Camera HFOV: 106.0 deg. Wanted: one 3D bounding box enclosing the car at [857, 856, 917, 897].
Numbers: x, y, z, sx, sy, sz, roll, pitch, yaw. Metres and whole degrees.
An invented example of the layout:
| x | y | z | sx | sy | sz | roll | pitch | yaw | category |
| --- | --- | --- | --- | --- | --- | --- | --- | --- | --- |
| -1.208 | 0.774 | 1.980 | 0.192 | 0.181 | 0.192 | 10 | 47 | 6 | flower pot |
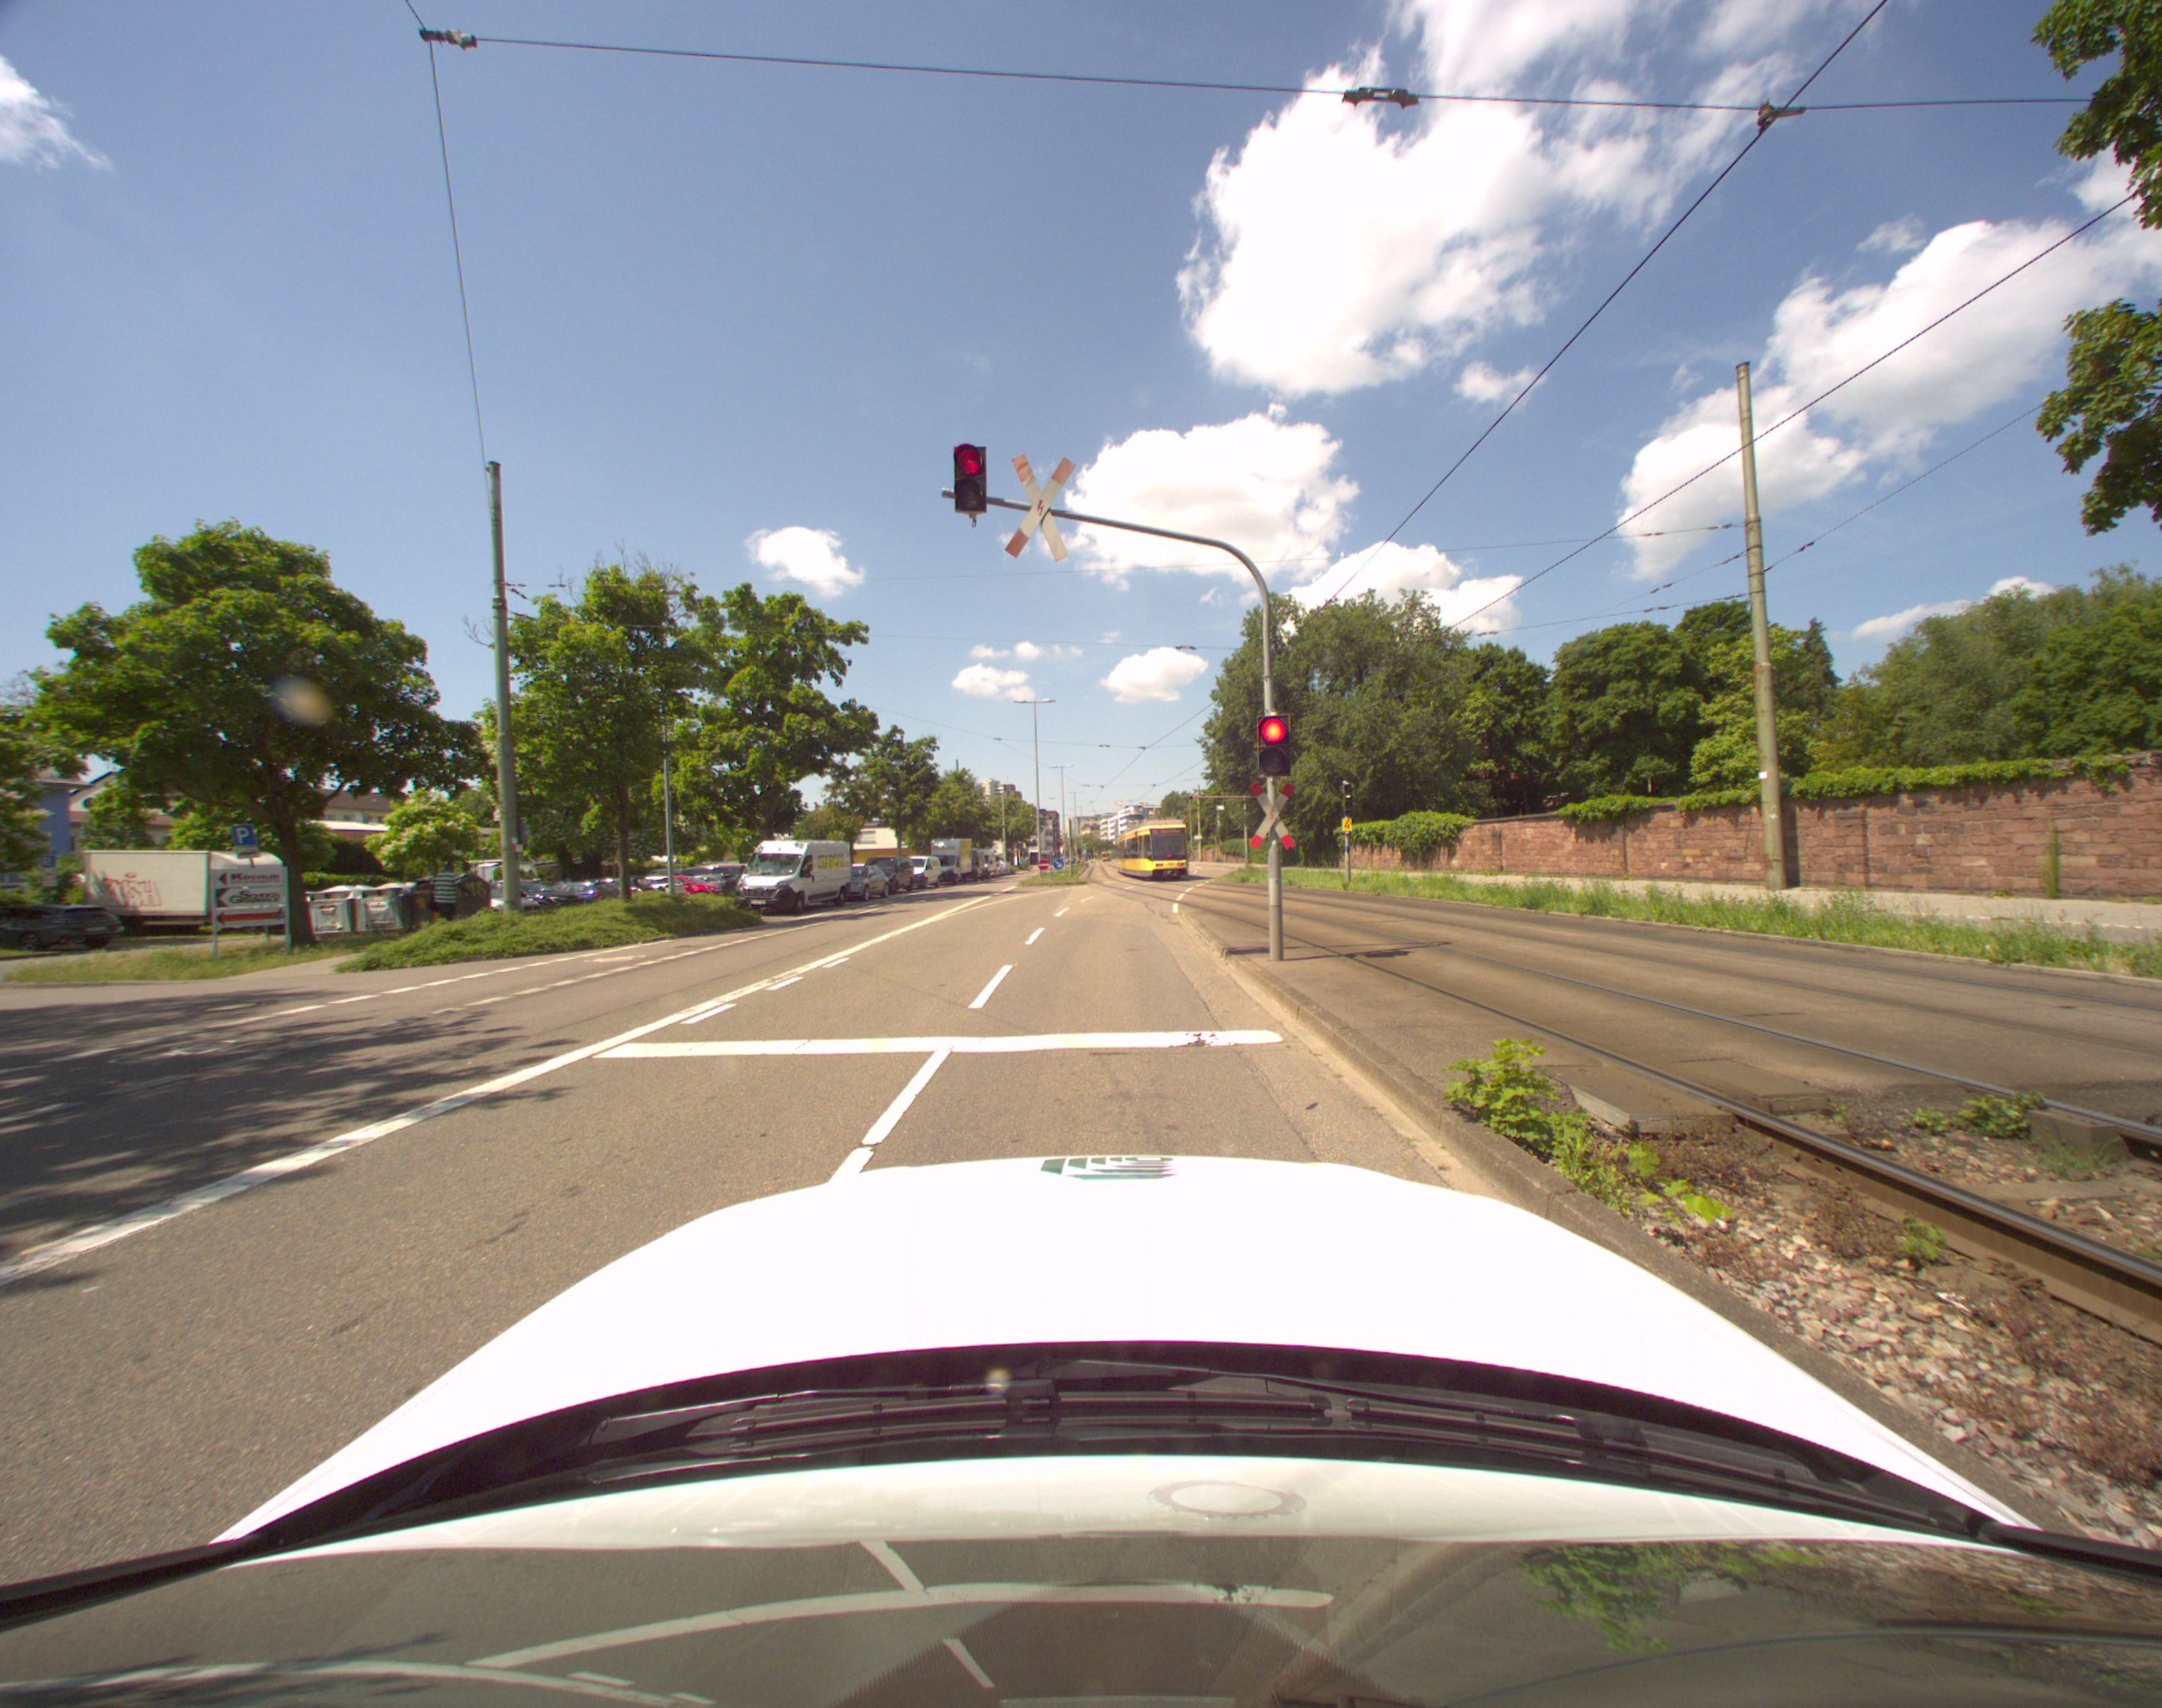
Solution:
| x | y | z | sx | sy | sz | roll | pitch | yaw | category |
| --- | --- | --- | --- | --- | --- | --- | --- | --- | --- |
| -9.848 | 1.116 | 41.674 | 1.862 | 1.895 | 4.272 | -2 | 0 | 2 | car |

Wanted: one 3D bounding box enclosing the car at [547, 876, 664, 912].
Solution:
| x | y | z | sx | sy | sz | roll | pitch | yaw | category |
| --- | --- | --- | --- | --- | --- | --- | --- | --- | --- |
| -20.778 | 1.724 | 35.678 | 3.974 | 1.339 | 1.805 | -2 | 0 | 0 | car |

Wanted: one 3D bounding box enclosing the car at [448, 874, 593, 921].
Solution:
| x | y | z | sx | sy | sz | roll | pitch | yaw | category |
| --- | --- | --- | --- | --- | --- | --- | --- | --- | --- |
| -20.424 | 1.558 | 29.787 | 3.974 | 1.442 | 1.805 | -2 | 0 | 0 | car |

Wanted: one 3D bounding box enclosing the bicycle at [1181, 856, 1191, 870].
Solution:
| x | y | z | sx | sy | sz | roll | pitch | yaw | category |
| --- | --- | --- | --- | --- | --- | --- | --- | --- | --- |
| 14.903 | 1.291 | 115.892 | 1.088 | 1.908 | 3.683 | -2 | 0 | 2 | bicycle |

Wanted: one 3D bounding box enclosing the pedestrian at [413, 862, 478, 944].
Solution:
| x | y | z | sx | sy | sz | roll | pitch | yaw | category |
| --- | --- | --- | --- | --- | --- | --- | --- | --- | --- |
| -14.847 | 1.114 | 19.063 | 0.979 | 1.823 | 0.788 | -2 | 0 | -24 | pedestrian |

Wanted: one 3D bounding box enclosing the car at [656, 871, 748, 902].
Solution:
| x | y | z | sx | sy | sz | roll | pitch | yaw | category |
| --- | --- | --- | --- | --- | --- | --- | --- | --- | --- |
| -20.176 | 1.723 | 43.459 | 3.974 | 1.442 | 1.805 | -3 | 0 | 0 | car |

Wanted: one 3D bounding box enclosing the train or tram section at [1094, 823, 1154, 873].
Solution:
| x | y | z | sx | sy | sz | roll | pitch | yaw | category |
| --- | --- | --- | --- | --- | --- | --- | --- | --- | --- |
| 3.402 | -0.467 | 70.728 | 2.937 | 3.692 | 20.258 | -1 | 0 | -3 | train or tram section |

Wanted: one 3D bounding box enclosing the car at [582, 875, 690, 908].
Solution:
| x | y | z | sx | sy | sz | roll | pitch | yaw | category |
| --- | --- | --- | --- | --- | --- | --- | --- | --- | --- |
| -20.878 | 1.742 | 38.317 | 3.974 | 1.339 | 1.805 | -2 | 0 | 0 | car |

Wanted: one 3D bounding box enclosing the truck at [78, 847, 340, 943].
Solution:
| x | y | z | sx | sy | sz | roll | pitch | yaw | category |
| --- | --- | --- | --- | --- | --- | --- | --- | --- | --- |
| -33.000 | 1.500 | 31.012 | 7.166 | 3.228 | 2.331 | -2 | 0 | -2 | truck |

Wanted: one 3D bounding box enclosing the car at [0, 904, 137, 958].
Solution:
| x | y | z | sx | sy | sz | roll | pitch | yaw | category |
| --- | --- | --- | --- | --- | --- | --- | --- | --- | --- |
| -32.334 | 2.397 | 25.223 | 3.975 | 1.399 | 1.772 | -3 | 0 | -1 | car |

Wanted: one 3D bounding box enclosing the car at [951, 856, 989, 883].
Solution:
| x | y | z | sx | sy | sz | roll | pitch | yaw | category |
| --- | --- | --- | --- | --- | --- | --- | --- | --- | --- |
| -8.742 | 1.202 | 64.505 | 2.053 | 1.977 | 4.873 | -2 | 0 | 2 | car |

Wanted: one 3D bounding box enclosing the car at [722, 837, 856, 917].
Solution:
| x | y | z | sx | sy | sz | roll | pitch | yaw | category |
| --- | --- | --- | --- | --- | --- | --- | --- | --- | --- |
| -10.137 | 0.724 | 28.956 | 2.147 | 2.487 | 6.198 | 1 | 0 | 3 | car |

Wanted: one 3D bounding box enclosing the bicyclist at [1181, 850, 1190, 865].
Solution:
| x | y | z | sx | sy | sz | roll | pitch | yaw | category |
| --- | --- | --- | --- | --- | --- | --- | --- | --- | --- |
| 14.846 | 0.509 | 115.804 | 1.092 | 2.108 | 1.031 | -1 | -1 | 1 | bicyclist |

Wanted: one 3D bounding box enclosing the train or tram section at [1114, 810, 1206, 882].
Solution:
| x | y | z | sx | sy | sz | roll | pitch | yaw | category |
| --- | --- | --- | --- | --- | --- | --- | --- | --- | --- |
| 4.471 | -0.424 | 51.503 | 2.937 | 3.692 | 18.366 | -1 | 0 | -3 | train or tram section |

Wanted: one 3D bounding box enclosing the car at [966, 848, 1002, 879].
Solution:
| x | y | z | sx | sy | sz | roll | pitch | yaw | category |
| --- | --- | --- | --- | --- | --- | --- | --- | --- | --- |
| -8.592 | 0.835 | 72.614 | 2.147 | 2.639 | 5.616 | 1 | 0 | 3 | car |

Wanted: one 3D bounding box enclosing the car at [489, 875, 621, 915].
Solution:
| x | y | z | sx | sy | sz | roll | pitch | yaw | category |
| --- | --- | --- | --- | --- | --- | --- | --- | --- | --- |
| -20.724 | 1.600 | 32.215 | 3.974 | 1.339 | 1.805 | -2 | 0 | 0 | car |

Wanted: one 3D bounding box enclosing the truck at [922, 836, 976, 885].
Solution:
| x | y | z | sx | sy | sz | roll | pitch | yaw | category |
| --- | --- | --- | --- | --- | --- | --- | --- | --- | --- |
| -9.132 | 0.430 | 57.089 | 2.147 | 3.210 | 7.089 | 1 | 0 | 3 | truck |

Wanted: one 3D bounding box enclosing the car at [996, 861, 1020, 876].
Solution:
| x | y | z | sx | sy | sz | roll | pitch | yaw | category |
| --- | --- | --- | --- | --- | --- | --- | --- | --- | --- |
| -8.353 | 1.678 | 93.343 | 2.053 | 1.582 | 4.873 | -2 | 0 | 2 | car |

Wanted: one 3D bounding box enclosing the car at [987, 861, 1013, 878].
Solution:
| x | y | z | sx | sy | sz | roll | pitch | yaw | category |
| --- | --- | --- | --- | --- | --- | --- | --- | --- | --- |
| -8.572 | 1.614 | 86.427 | 2.053 | 1.582 | 4.873 | -2 | 0 | 2 | car |

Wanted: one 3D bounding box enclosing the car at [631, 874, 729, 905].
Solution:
| x | y | z | sx | sy | sz | roll | pitch | yaw | category |
| --- | --- | --- | --- | --- | --- | --- | --- | --- | --- |
| -20.082 | 1.757 | 40.900 | 3.974 | 1.339 | 1.805 | -2 | 0 | 0 | car |

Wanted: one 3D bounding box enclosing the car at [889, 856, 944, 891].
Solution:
| x | y | z | sx | sy | sz | roll | pitch | yaw | category |
| --- | --- | --- | --- | --- | --- | --- | --- | --- | --- |
| -9.701 | 1.123 | 48.524 | 2.053 | 1.898 | 4.873 | -2 | 0 | 2 | car |

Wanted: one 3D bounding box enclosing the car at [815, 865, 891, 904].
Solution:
| x | y | z | sx | sy | sz | roll | pitch | yaw | category |
| --- | --- | --- | --- | --- | --- | --- | --- | --- | --- |
| -9.773 | 1.261 | 35.257 | 1.861 | 1.437 | 4.344 | -2 | 0 | 2 | car |
